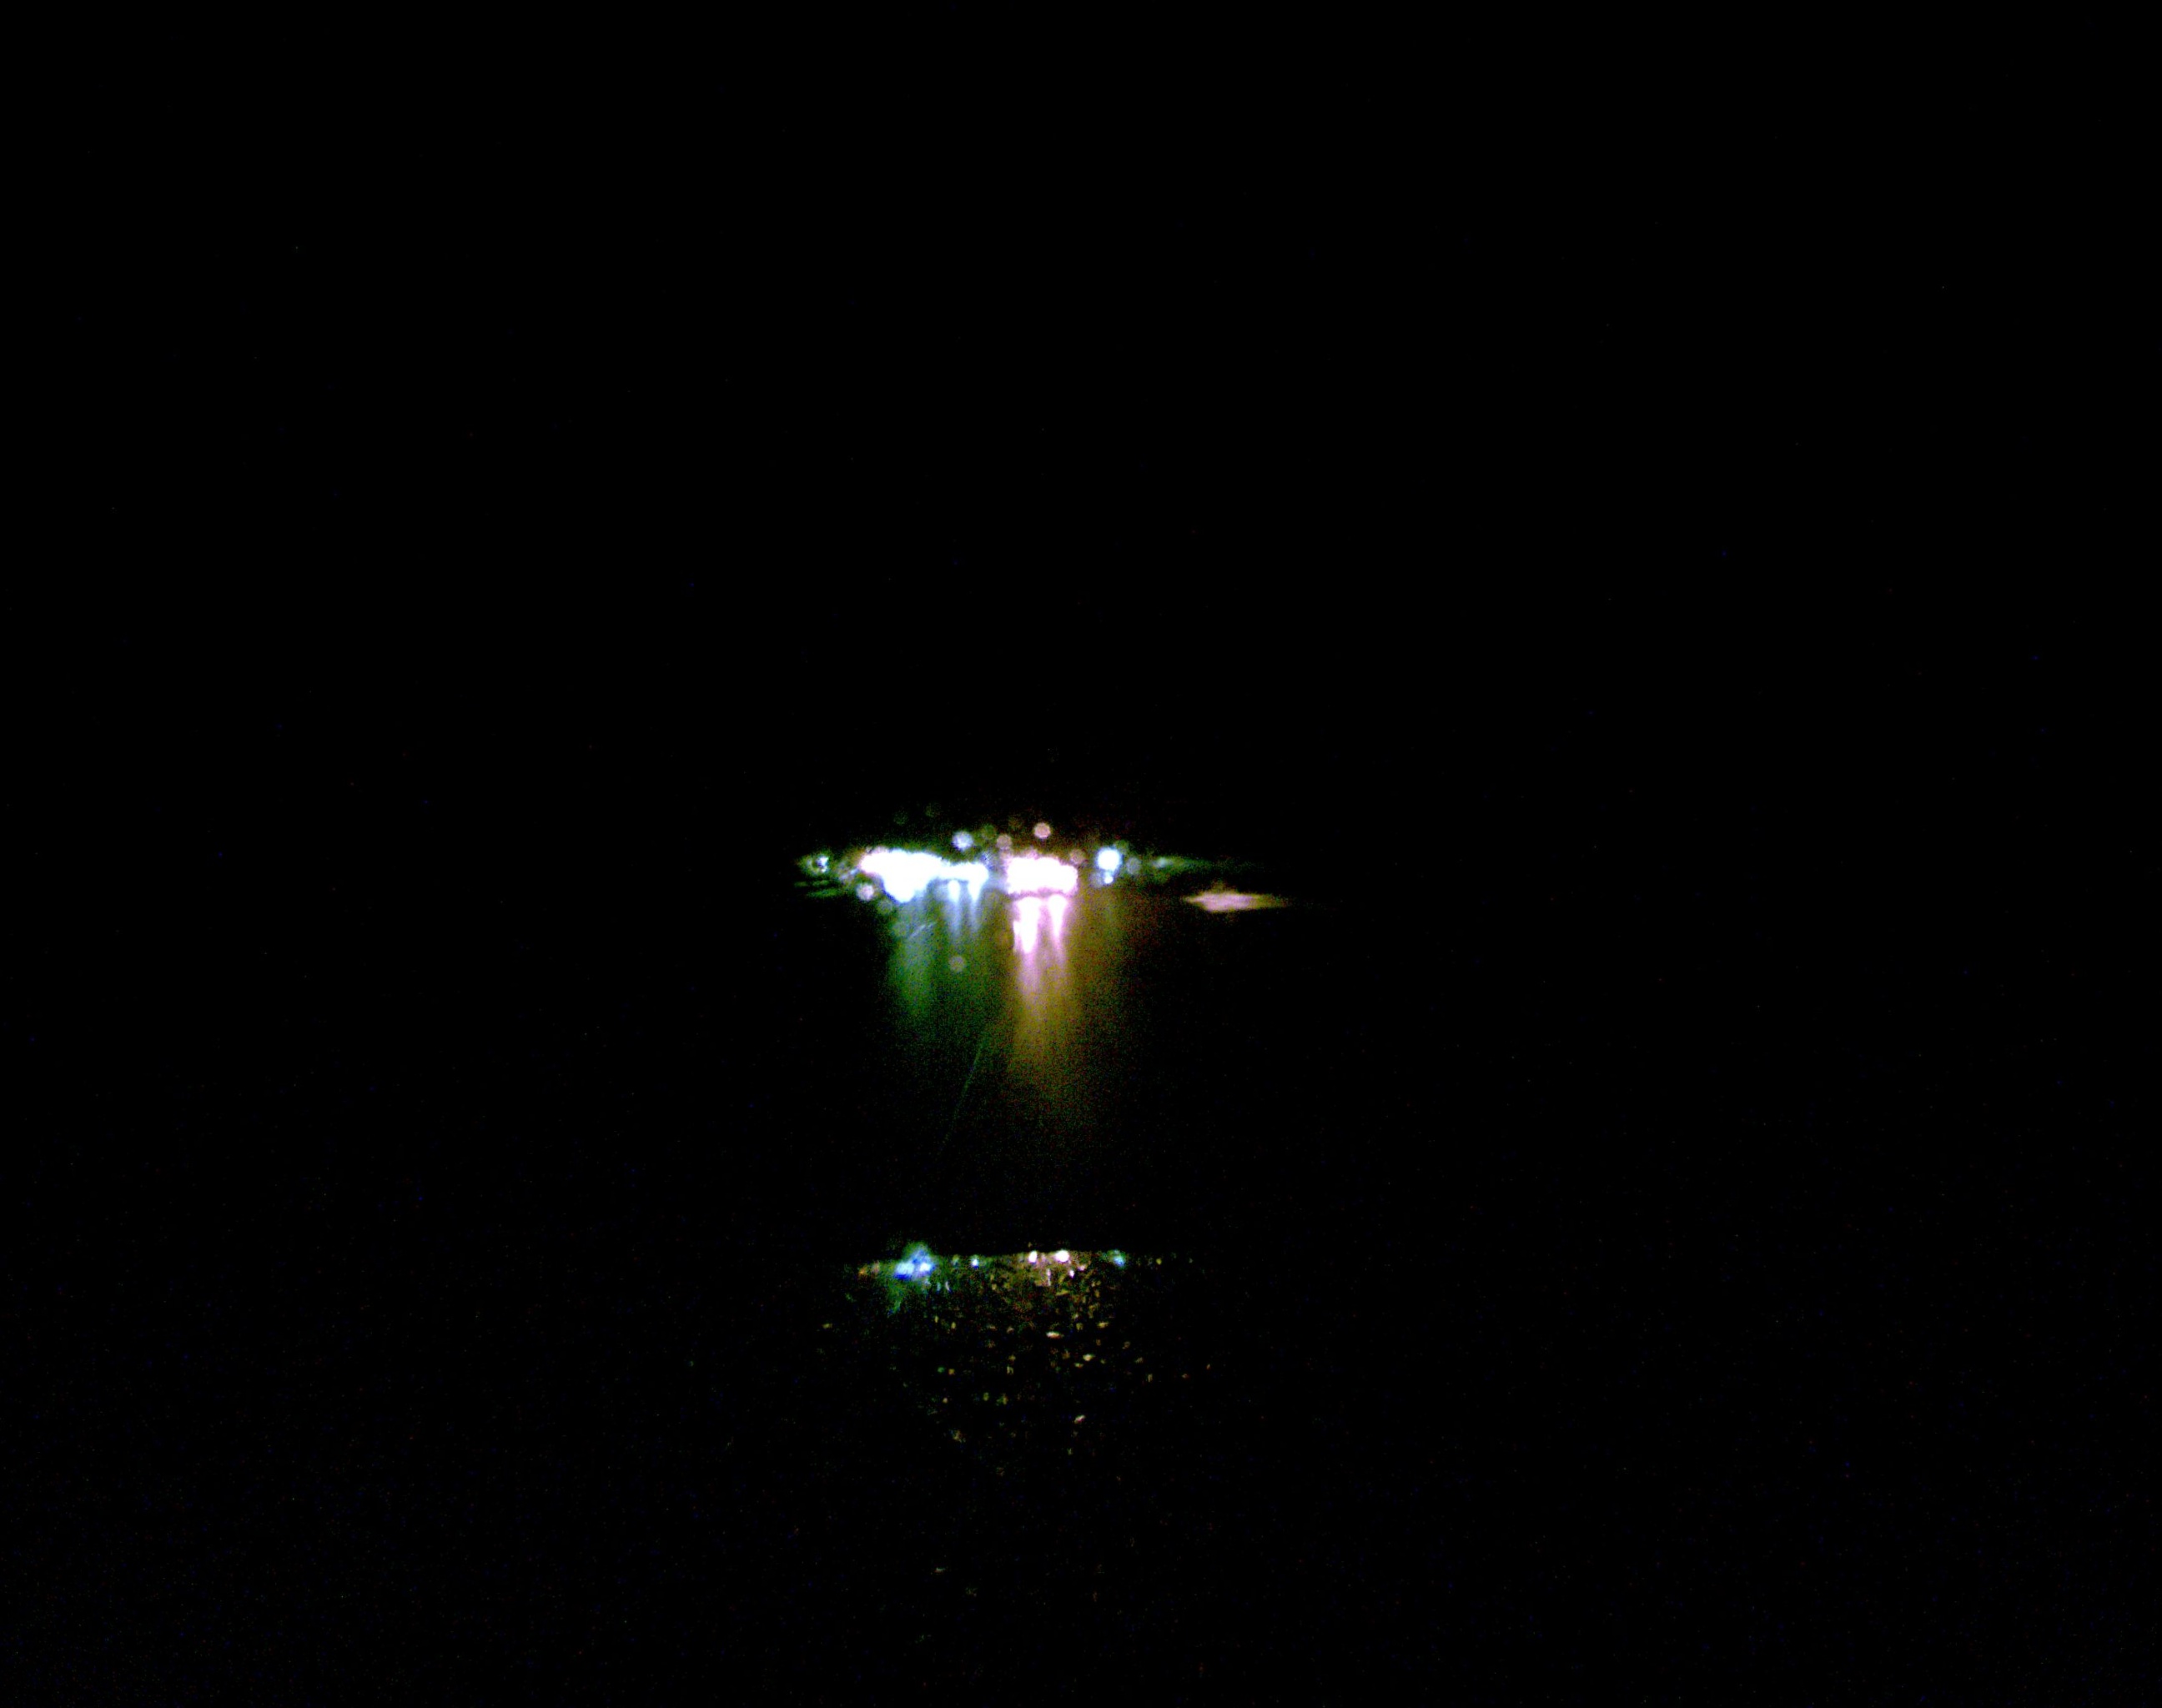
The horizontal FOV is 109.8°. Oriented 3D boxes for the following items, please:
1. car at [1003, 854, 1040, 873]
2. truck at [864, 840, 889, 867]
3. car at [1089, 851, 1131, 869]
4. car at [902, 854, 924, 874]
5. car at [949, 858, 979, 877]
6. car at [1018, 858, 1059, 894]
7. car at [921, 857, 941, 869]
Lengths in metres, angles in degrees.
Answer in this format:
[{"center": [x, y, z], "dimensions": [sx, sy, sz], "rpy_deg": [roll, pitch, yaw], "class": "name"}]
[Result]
[{"center": [-5.328, 0.841, 67.599], "dimensions": [1.734, 1.473, 4.033], "rpy_deg": [-5, 1, -28], "class": "car"}, {"center": [-35.030, -0.050, 130.076], "dimensions": [2.544, 4.311, 5.551], "rpy_deg": [-3, 1, -30], "class": "truck"}, {"center": [2.596, 0.567, 68.501], "dimensions": [1.892, 1.532, 4.101], "rpy_deg": [-2, 1, -28], "class": "car"}, {"center": [-15.998, 0.934, 72.171], "dimensions": [1.743, 1.674, 4.115], "rpy_deg": [-4, 1, -15], "class": "car"}, {"center": [-8.645, 1.001, 55.943], "dimensions": [1.762, 1.304, 4.080], "rpy_deg": [-2, 0, -14], "class": "car"}, {"center": [-1.924, 0.942, 33.998], "dimensions": [1.687, 1.442, 3.640], "rpy_deg": [-2, 0, -4], "class": "car"}, {"center": [-22.872, 1.346, 115.705], "dimensions": [1.792, 1.641, 4.045], "rpy_deg": [-3, -1, -29], "class": "car"}]
